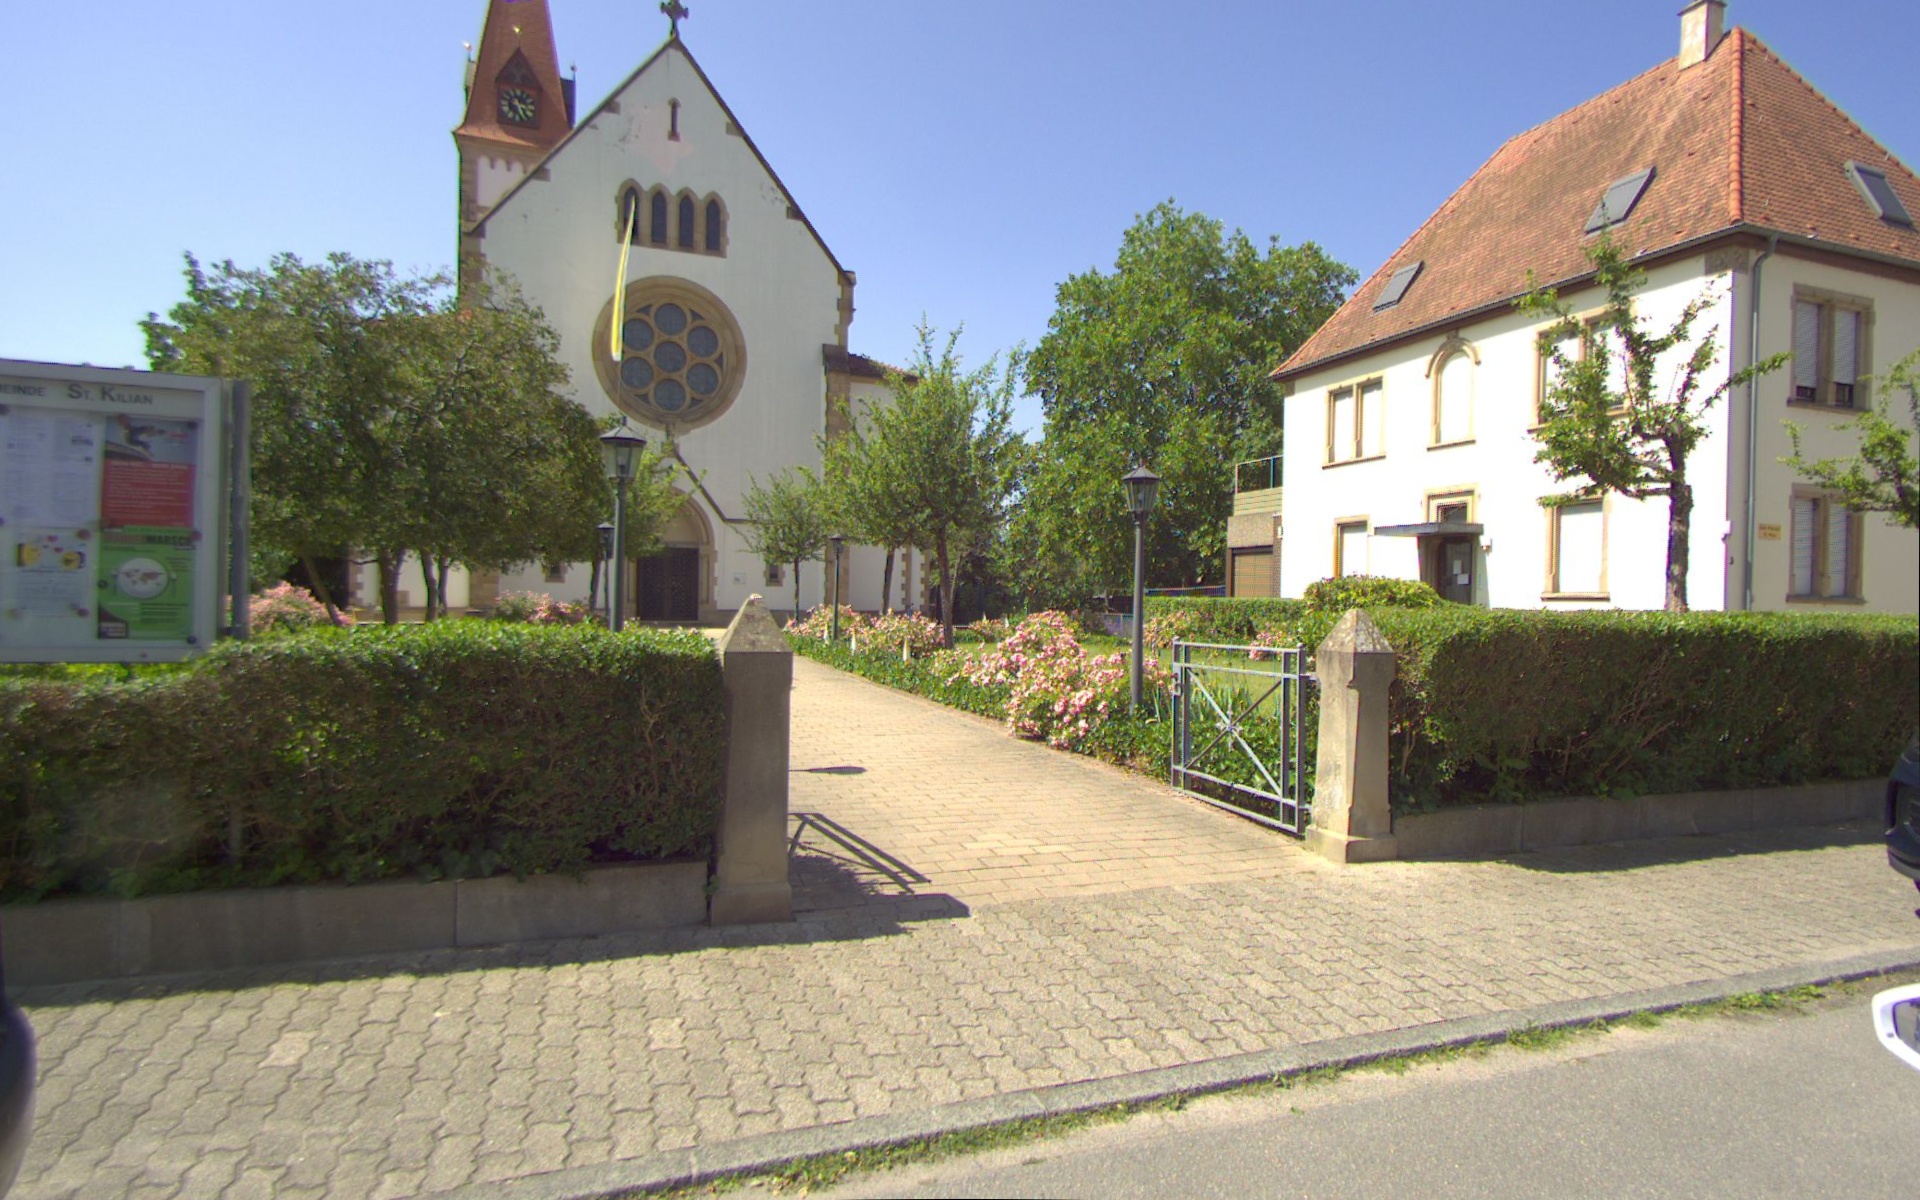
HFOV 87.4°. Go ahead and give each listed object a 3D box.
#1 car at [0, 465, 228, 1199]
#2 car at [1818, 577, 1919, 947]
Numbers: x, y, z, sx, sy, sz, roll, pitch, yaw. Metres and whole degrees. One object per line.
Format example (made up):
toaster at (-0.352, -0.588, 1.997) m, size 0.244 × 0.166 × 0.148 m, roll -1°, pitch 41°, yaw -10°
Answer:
car at (-3.077, 0.601, 0.774) m, size 3.711 × 1.650 × 1.635 m, roll 1°, pitch 1°, yaw -20°
car at (6.421, 0.783, 4.712) m, size 4.153 × 1.652 × 1.824 m, roll 2°, pitch 0°, yaw -20°
